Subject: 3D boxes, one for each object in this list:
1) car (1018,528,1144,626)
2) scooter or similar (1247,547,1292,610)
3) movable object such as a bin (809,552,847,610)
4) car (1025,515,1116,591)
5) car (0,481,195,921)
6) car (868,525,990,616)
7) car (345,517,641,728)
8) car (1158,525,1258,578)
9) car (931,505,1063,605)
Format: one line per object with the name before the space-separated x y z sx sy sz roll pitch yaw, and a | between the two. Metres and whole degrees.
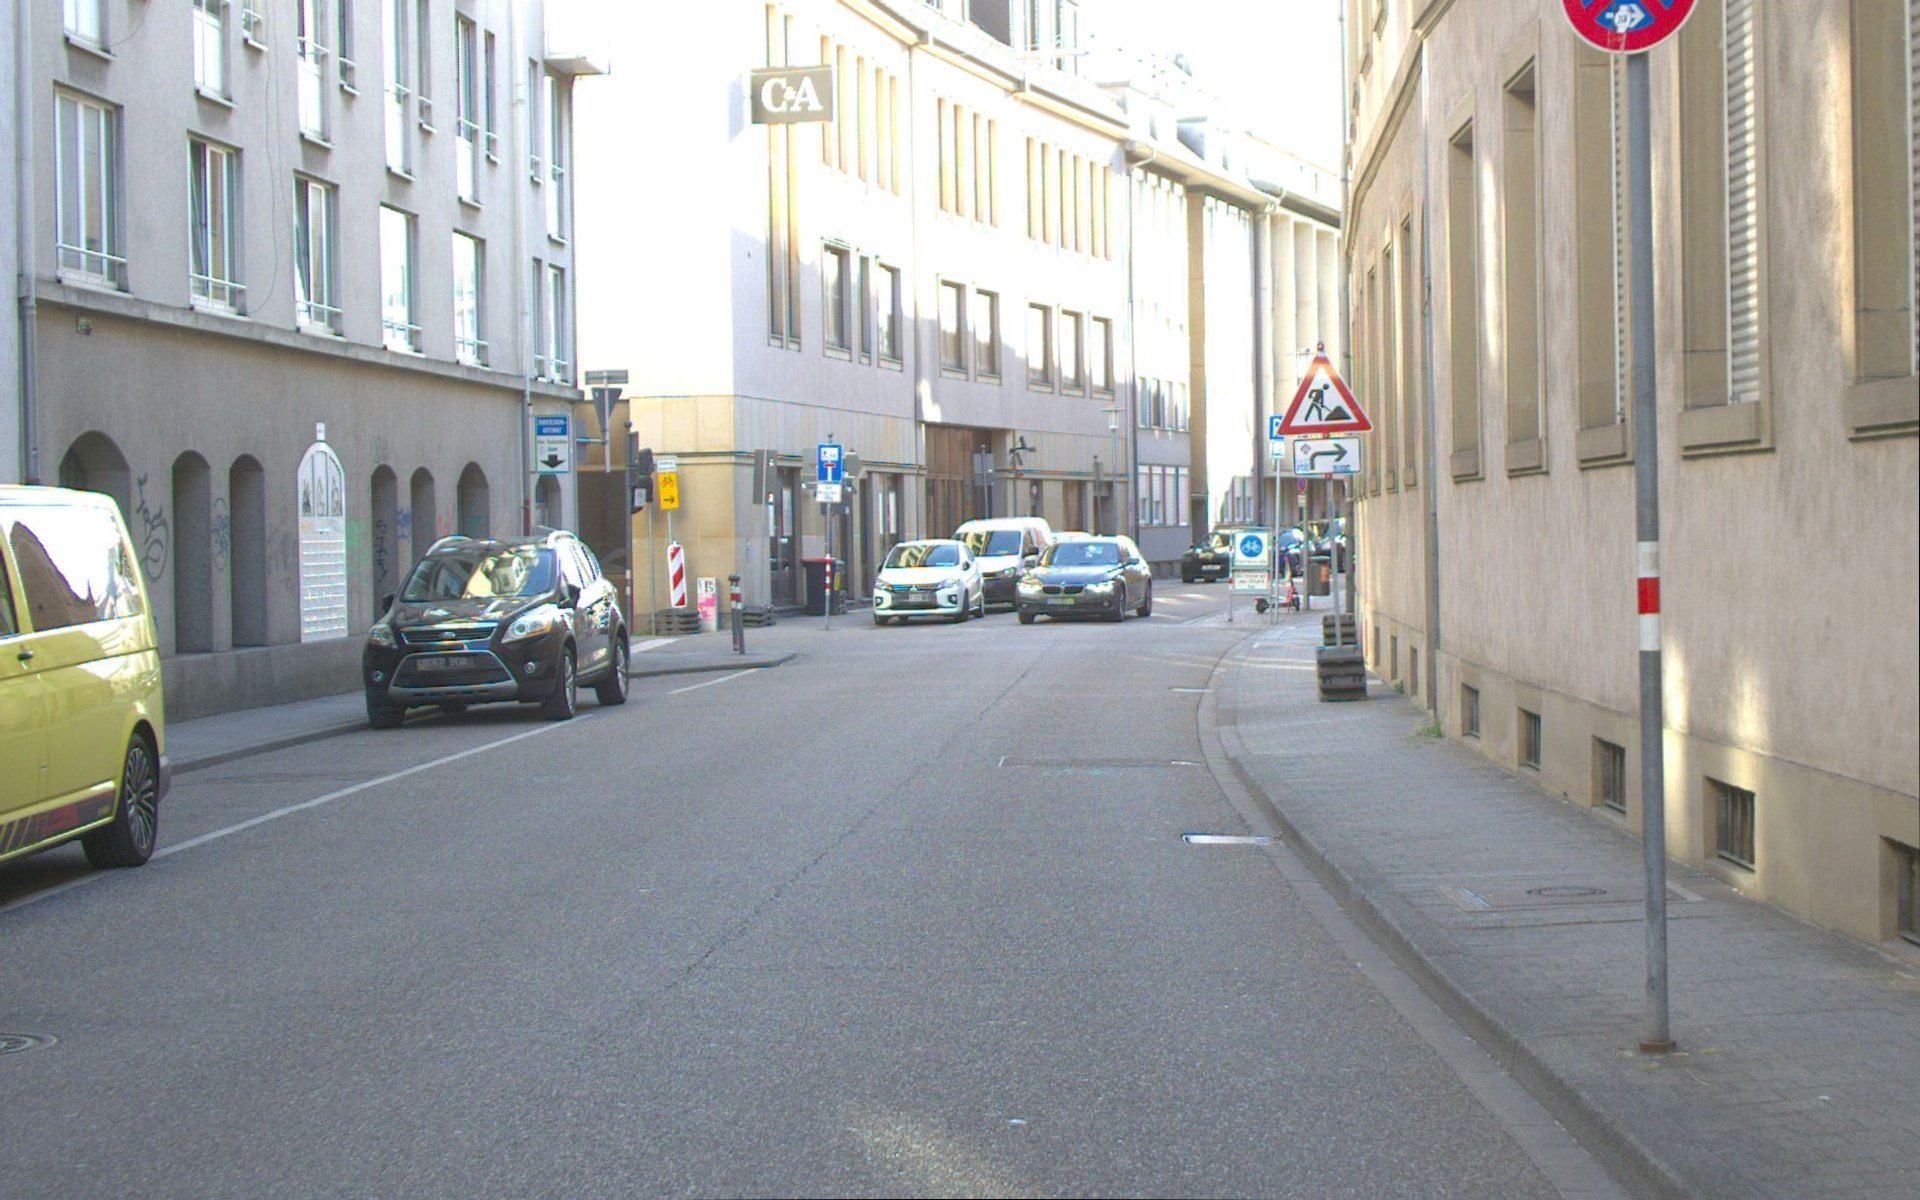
car | 2.040 -0.424 59.083 1.714 1.572 4.191 -2 1 -4
scooter or similar | 5.677 -0.398 63.045 0.771 1.132 0.269 1 1 9
movable object such as a bin | -2.448 -0.349 63.839 0.609 1.057 0.713 1 1 3
car | 2.409 -1.033 74.224 1.272 1.501 3.400 -3 1 13
car | -5.024 0.466 15.458 1.880 1.860 4.864 -4 1 1
car | -0.535 -0.562 62.448 1.671 1.501 3.793 -3 1 7
car | -4.259 0.146 31.996 1.740 1.705 4.190 -4 1 5
car | 6.823 -1.354 94.347 1.882 1.327 4.097 -1 1 16
car | 0.779 -0.926 68.190 1.671 1.812 4.550 -3 1 12
